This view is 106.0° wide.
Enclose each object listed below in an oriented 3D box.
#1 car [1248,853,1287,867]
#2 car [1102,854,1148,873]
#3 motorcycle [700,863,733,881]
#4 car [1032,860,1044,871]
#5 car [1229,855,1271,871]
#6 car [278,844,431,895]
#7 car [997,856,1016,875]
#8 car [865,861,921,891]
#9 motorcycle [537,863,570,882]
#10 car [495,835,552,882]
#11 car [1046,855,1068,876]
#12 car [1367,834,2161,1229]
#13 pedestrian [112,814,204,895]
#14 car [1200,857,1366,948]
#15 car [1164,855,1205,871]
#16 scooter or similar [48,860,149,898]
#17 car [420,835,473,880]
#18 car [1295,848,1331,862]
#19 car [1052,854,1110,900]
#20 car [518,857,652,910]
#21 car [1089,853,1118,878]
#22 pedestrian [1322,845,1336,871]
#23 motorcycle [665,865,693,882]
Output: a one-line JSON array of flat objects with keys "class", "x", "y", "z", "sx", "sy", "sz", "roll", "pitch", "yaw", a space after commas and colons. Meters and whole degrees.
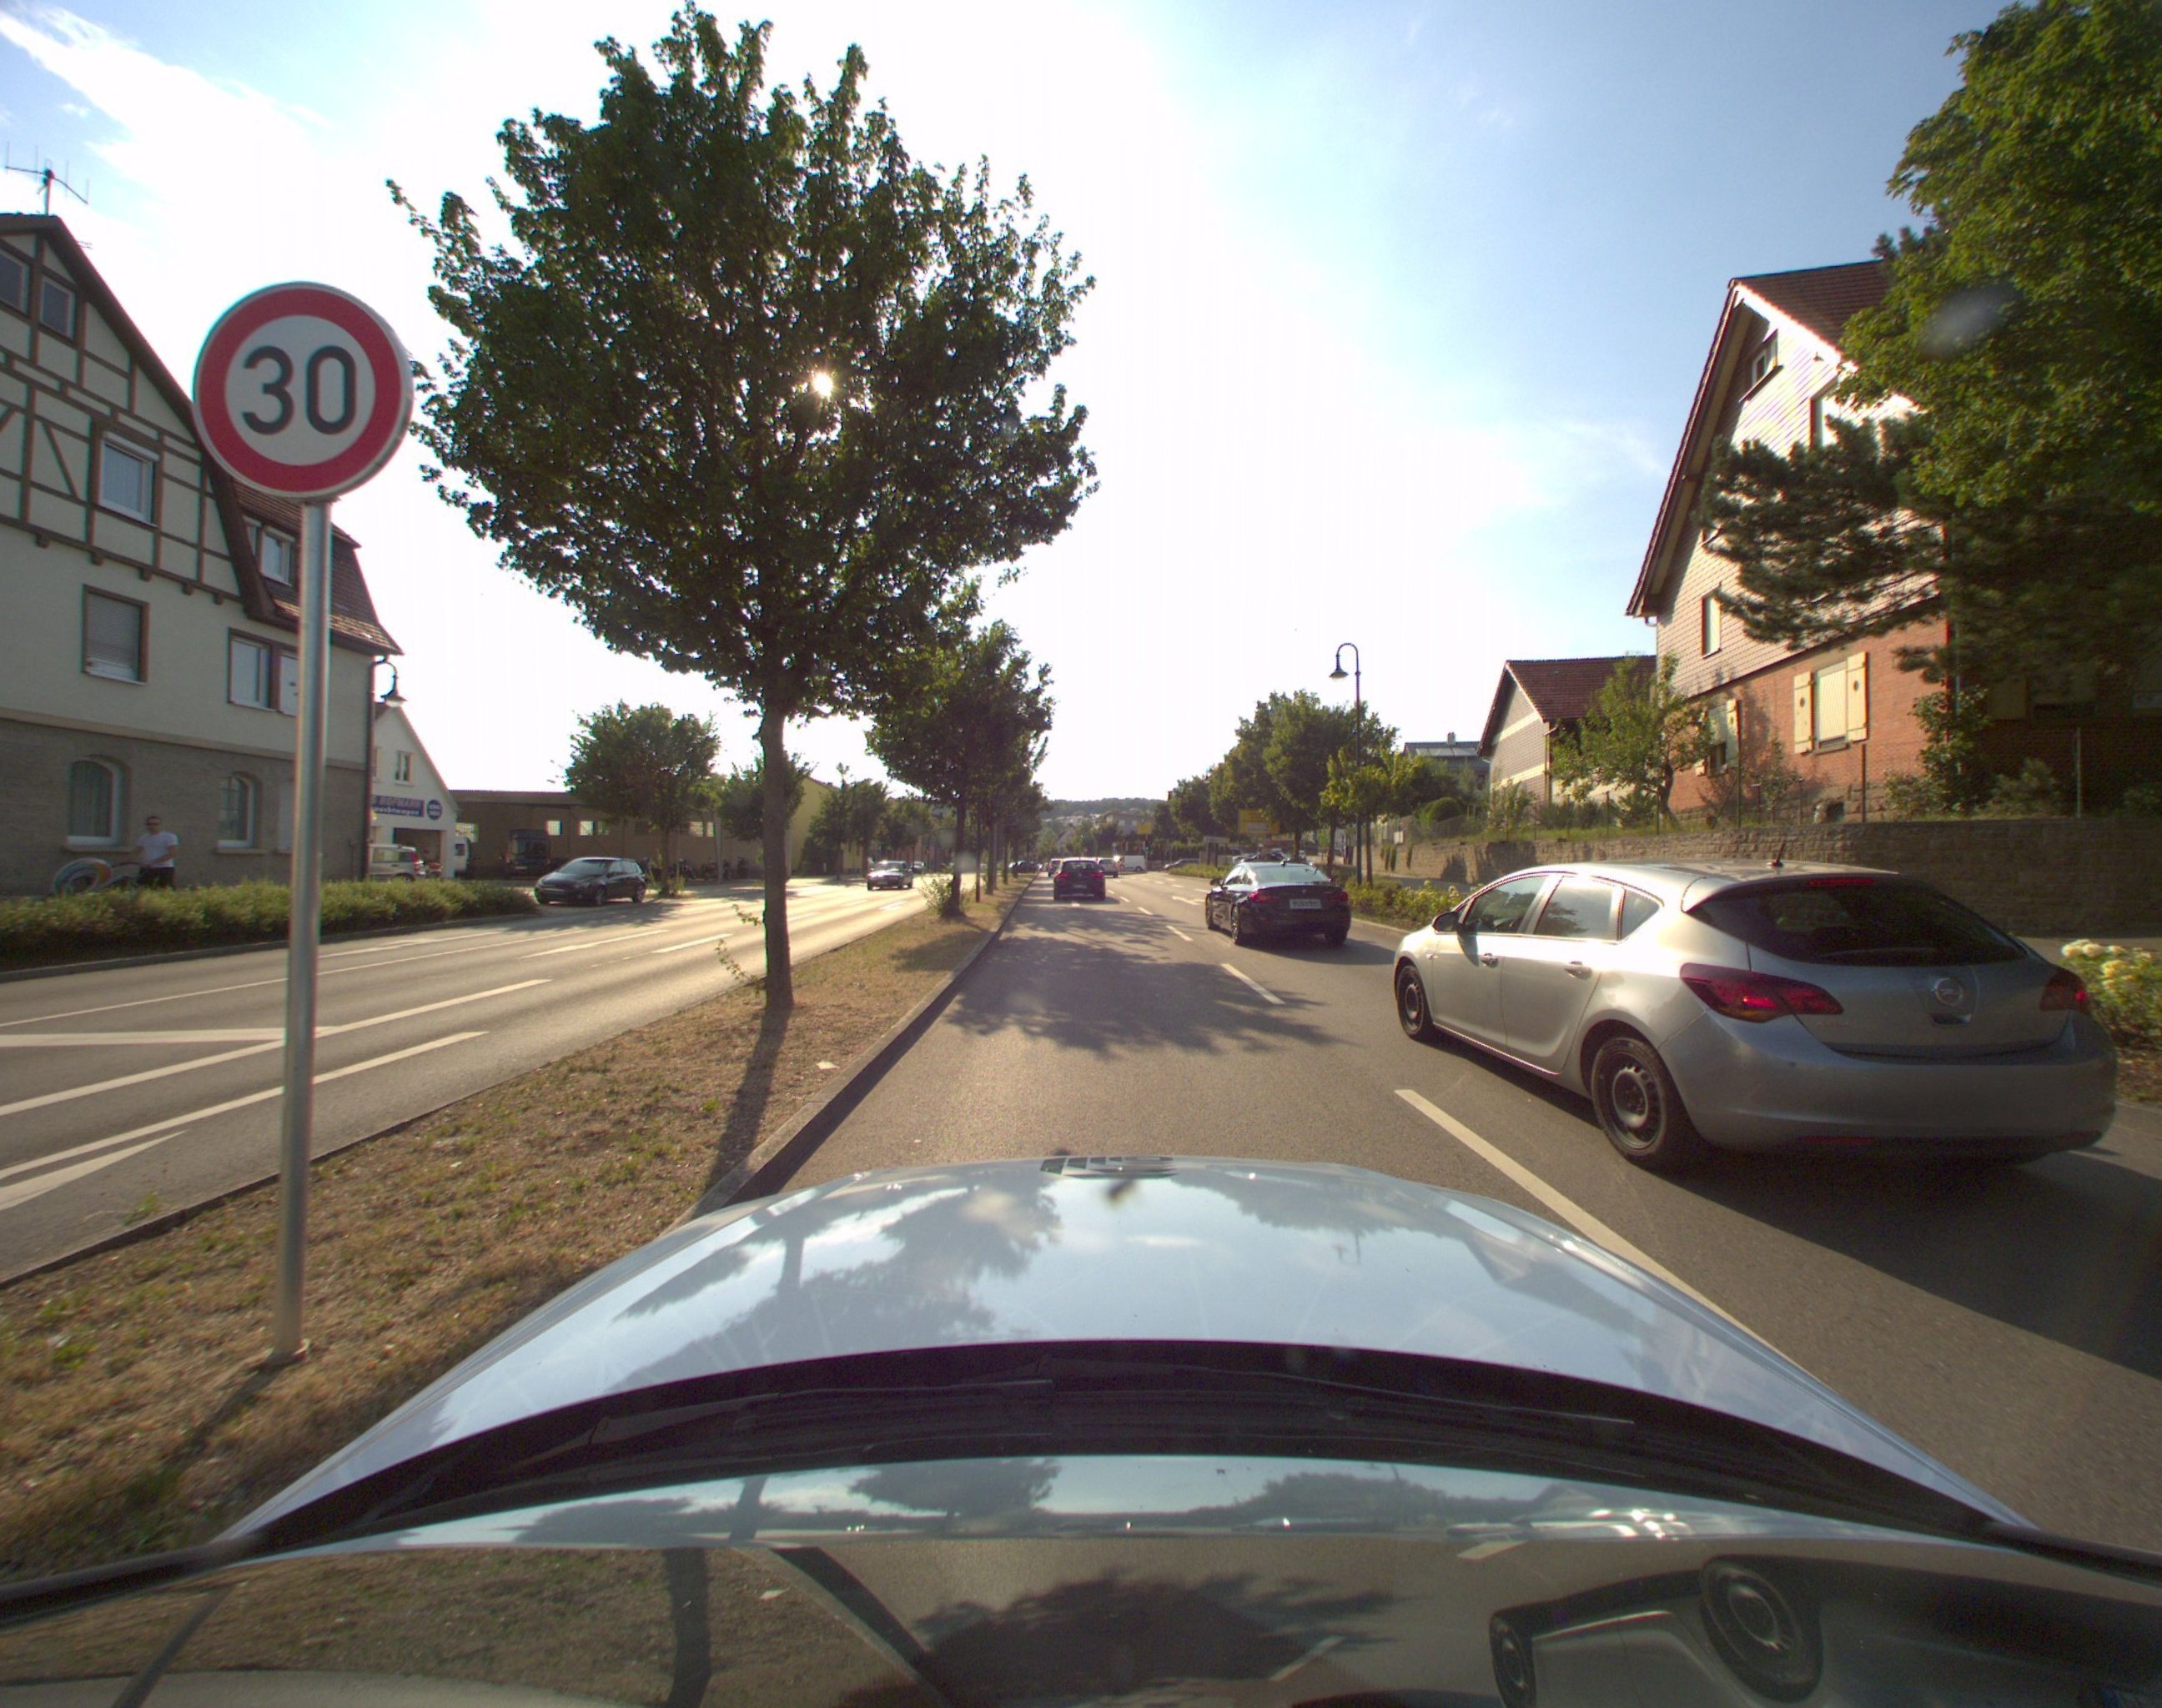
[{"class": "car", "x": 24.511, "y": 0.793, "z": 106.886, "sx": 4.623, "sy": 1.829, "sz": 1.996, "roll": -1, "pitch": 0, "yaw": -5}, {"class": "car", "x": 5.261, "y": 1.145, "z": 97.042, "sx": 5.110, "sy": 2.130, "sz": 2.138, "roll": -1, "pitch": 0, "yaw": -11}, {"class": "motorcycle", "x": -22.642, "y": 1.119, "z": 50.645, "sx": 0.510, "sy": 1.069, "sz": 1.882, "roll": -1, "pitch": 0, "yaw": 34}, {"class": "car", "x": -8.131, "y": 2.131, "z": 154.597, "sx": 1.766, "sy": 2.013, "sz": 4.002, "roll": -1, "pitch": 0, "yaw": 2}, {"class": "car", "x": 20.553, "y": 1.108, "z": 99.317, "sx": 4.541, "sy": 1.929, "sz": 2.136, "roll": -1, "pitch": 0, "yaw": -14}, {"class": "car", "x": -24.425, "y": 0.538, "z": 27.570, "sx": 3.698, "sy": 1.477, "sz": 1.804, "roll": 4, "pitch": 0, "yaw": -39}, {"class": "car", "x": -8.347, "y": 1.271, "z": 91.370, "sx": 2.136, "sy": 2.008, "sz": 5.116, "roll": -1, "pitch": 0, "yaw": -5}, {"class": "car", "x": -9.189, "y": 1.053, "z": 40.181, "sx": 1.751, "sy": 1.361, "sz": 4.483, "roll": -1, "pitch": 0, "yaw": -1}, {"class": "motorcycle", "x": -32.503, "y": 1.134, "z": 50.161, "sx": 0.510, "sy": 1.069, "sz": 1.647, "roll": -1, "pitch": 0, "yaw": 30}, {"class": "car", "x": -30.859, "y": 0.245, "z": 45.056, "sx": 2.053, "sy": 2.336, "sz": 4.270, "roll": 4, "pitch": 0, "yaw": -41}, {"class": "car", "x": -2.098, "y": 0.967, "z": 70.079, "sx": 1.752, "sy": 1.769, "sz": 3.967, "roll": -1, "pitch": 0, "yaw": -3}, {"class": "car", "x": 3.433, "y": 0.665, "z": 5.290, "sx": 1.715, "sy": 1.490, "sz": 4.308, "roll": -1, "pitch": 0, "yaw": 1}, {"class": "pedestrian", "x": -16.422, "y": 0.009, "z": 14.509, "sx": 0.811, "sy": 1.394, "sz": 0.706, "roll": -1, "pitch": 0, "yaw": -4}, {"class": "car", "x": 3.409, "y": 0.759, "z": 14.648, "sx": 1.914, "sy": 1.364, "sz": 4.352, "roll": -1, "pitch": 0, "yaw": 0}, {"class": "car", "x": 13.046, "y": 1.133, "z": 102.830, "sx": 4.933, "sy": 1.929, "sz": 2.146, "roll": -1, "pitch": 0, "yaw": -1}, {"class": "scooter or similar", "x": -16.344, "y": 0.407, "z": 13.575, "sx": 0.442, "sy": 0.582, "sz": 1.042, "roll": -1, "pitch": 0, "yaw": -3}, {"class": "car", "x": -34.370, "y": 0.157, "z": 44.190, "sx": 2.052, "sy": 2.150, "sz": 4.272, "roll": 4, "pitch": 0, "yaw": -37}, {"class": "car", "x": 32.980, "y": 0.166, "z": 115.830, "sx": 4.623, "sy": 1.829, "sz": 1.996, "roll": -1, "pitch": 0, "yaw": -5}, {"class": "car", "x": 0.074, "y": 0.762, "z": 28.969, "sx": 1.713, "sy": 1.490, "sz": 4.358, "roll": 0, "pitch": 0, "yaw": 5}, {"class": "car", "x": -15.566, "y": 0.867, "z": 25.848, "sx": 1.751, "sy": 1.454, "sz": 4.129, "roll": 3, "pitch": 0, "yaw": -2}, {"class": "car", "x": 1.704, "y": 0.853, "z": 62.683, "sx": 1.920, "sy": 1.769, "sz": 4.450, "roll": -1, "pitch": 0, "yaw": -3}, {"class": "pedestrian", "x": 16.651, "y": 0.254, "z": 54.651, "sx": 0.692, "sy": 1.703, "sz": 0.951, "roll": -1, "pitch": 0, "yaw": 6}, {"class": "motorcycle", "x": -24.898, "y": 1.214, "z": 50.427, "sx": 0.511, "sy": 1.005, "sz": 1.552, "roll": -1, "pitch": 0, "yaw": 28}]
